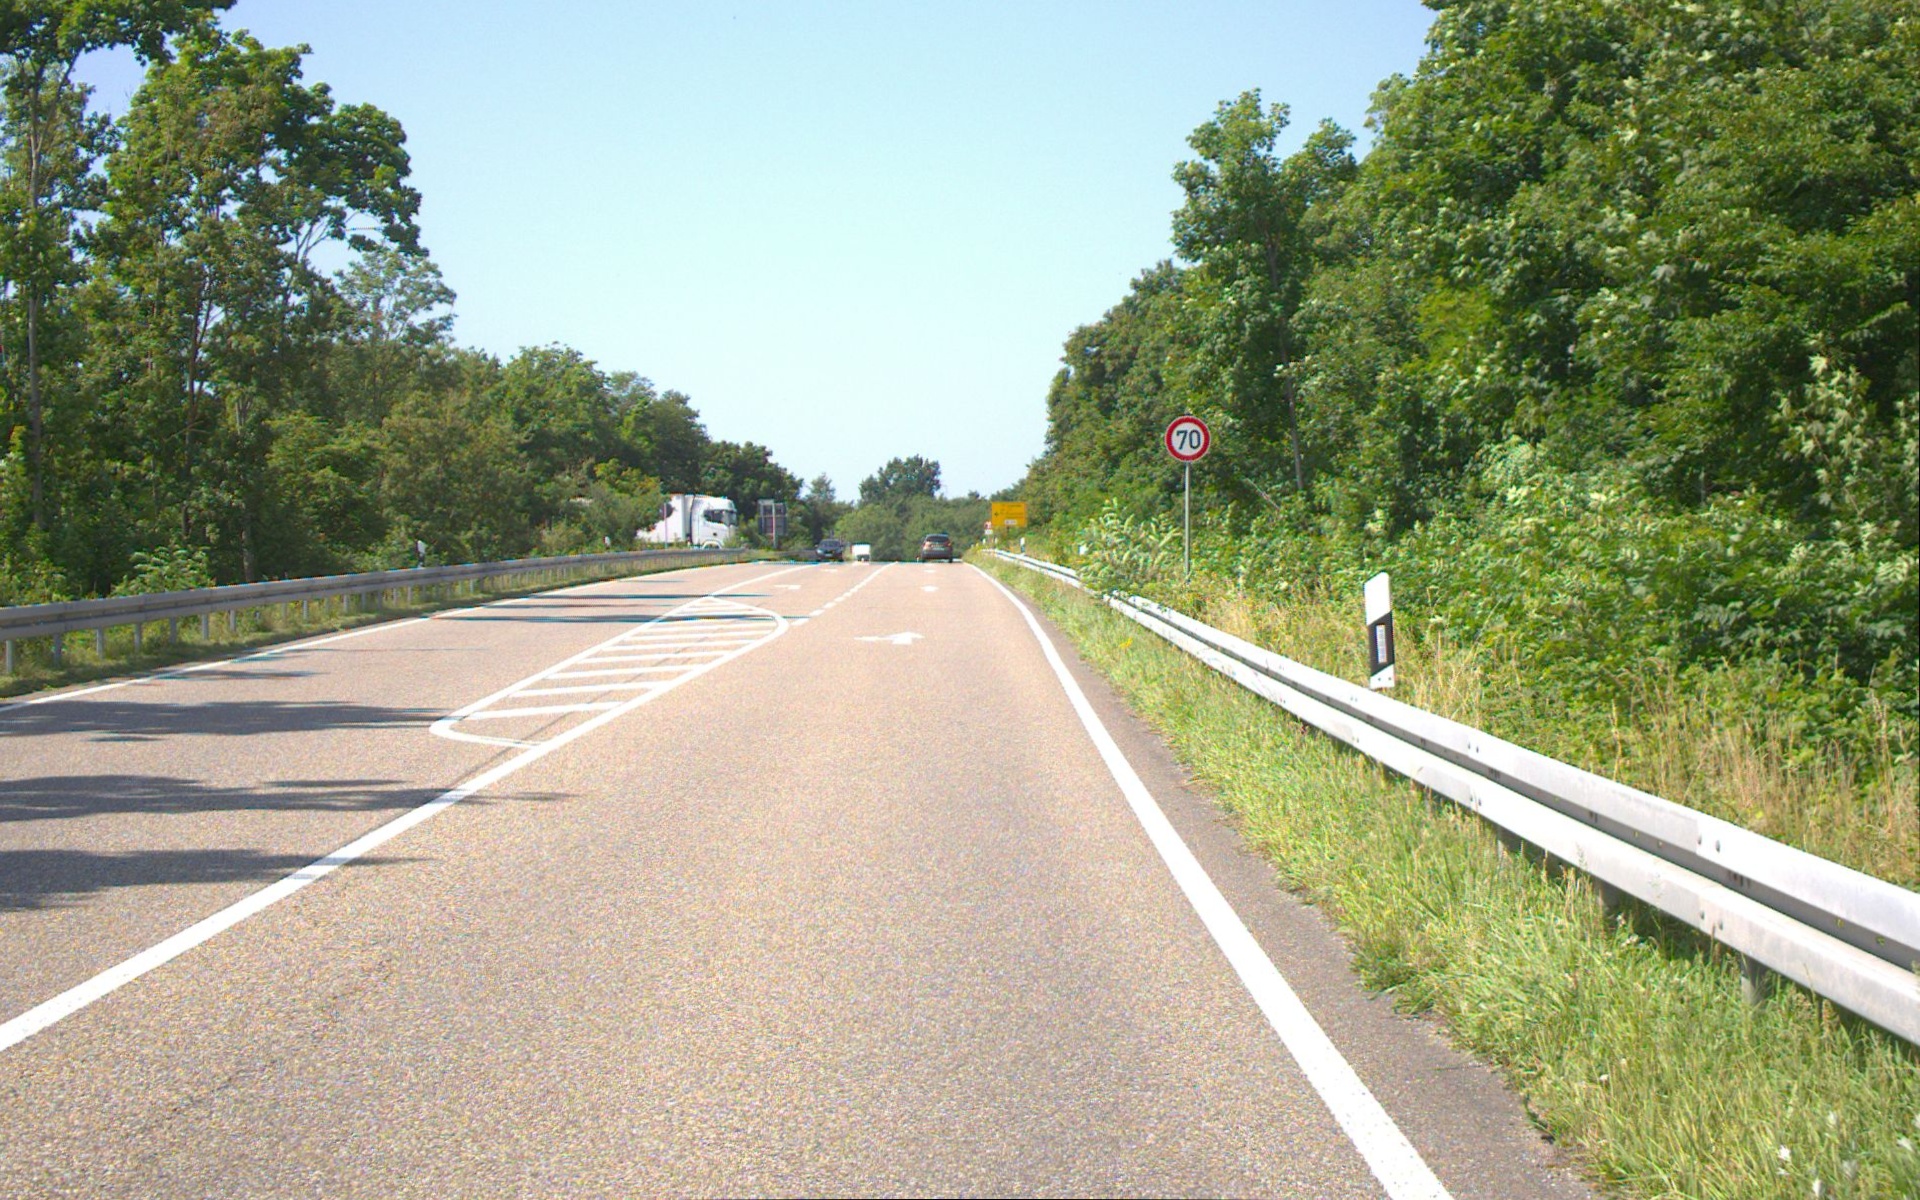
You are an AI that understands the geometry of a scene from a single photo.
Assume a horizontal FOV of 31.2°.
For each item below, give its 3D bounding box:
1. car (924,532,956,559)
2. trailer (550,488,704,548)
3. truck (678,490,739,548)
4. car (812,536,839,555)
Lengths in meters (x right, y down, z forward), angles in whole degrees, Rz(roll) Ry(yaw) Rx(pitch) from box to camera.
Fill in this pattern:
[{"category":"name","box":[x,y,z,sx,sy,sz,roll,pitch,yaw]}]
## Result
[{"category":"car","box":[-1.110,-3.037,189.987,1.741,1.465,3.693,0,1,0]},{"category":"trailer","box":[-20.190,-4.960,208.788,9.102,3.566,2.000,1,1,2]},{"category":"truck","box":[-15.244,-4.915,208.631,3.465,3.525,2.000,1,1,2]},{"category":"car","box":[-9.197,-3.760,235.233,1.730,1.263,3.905,0,1,0]}]
